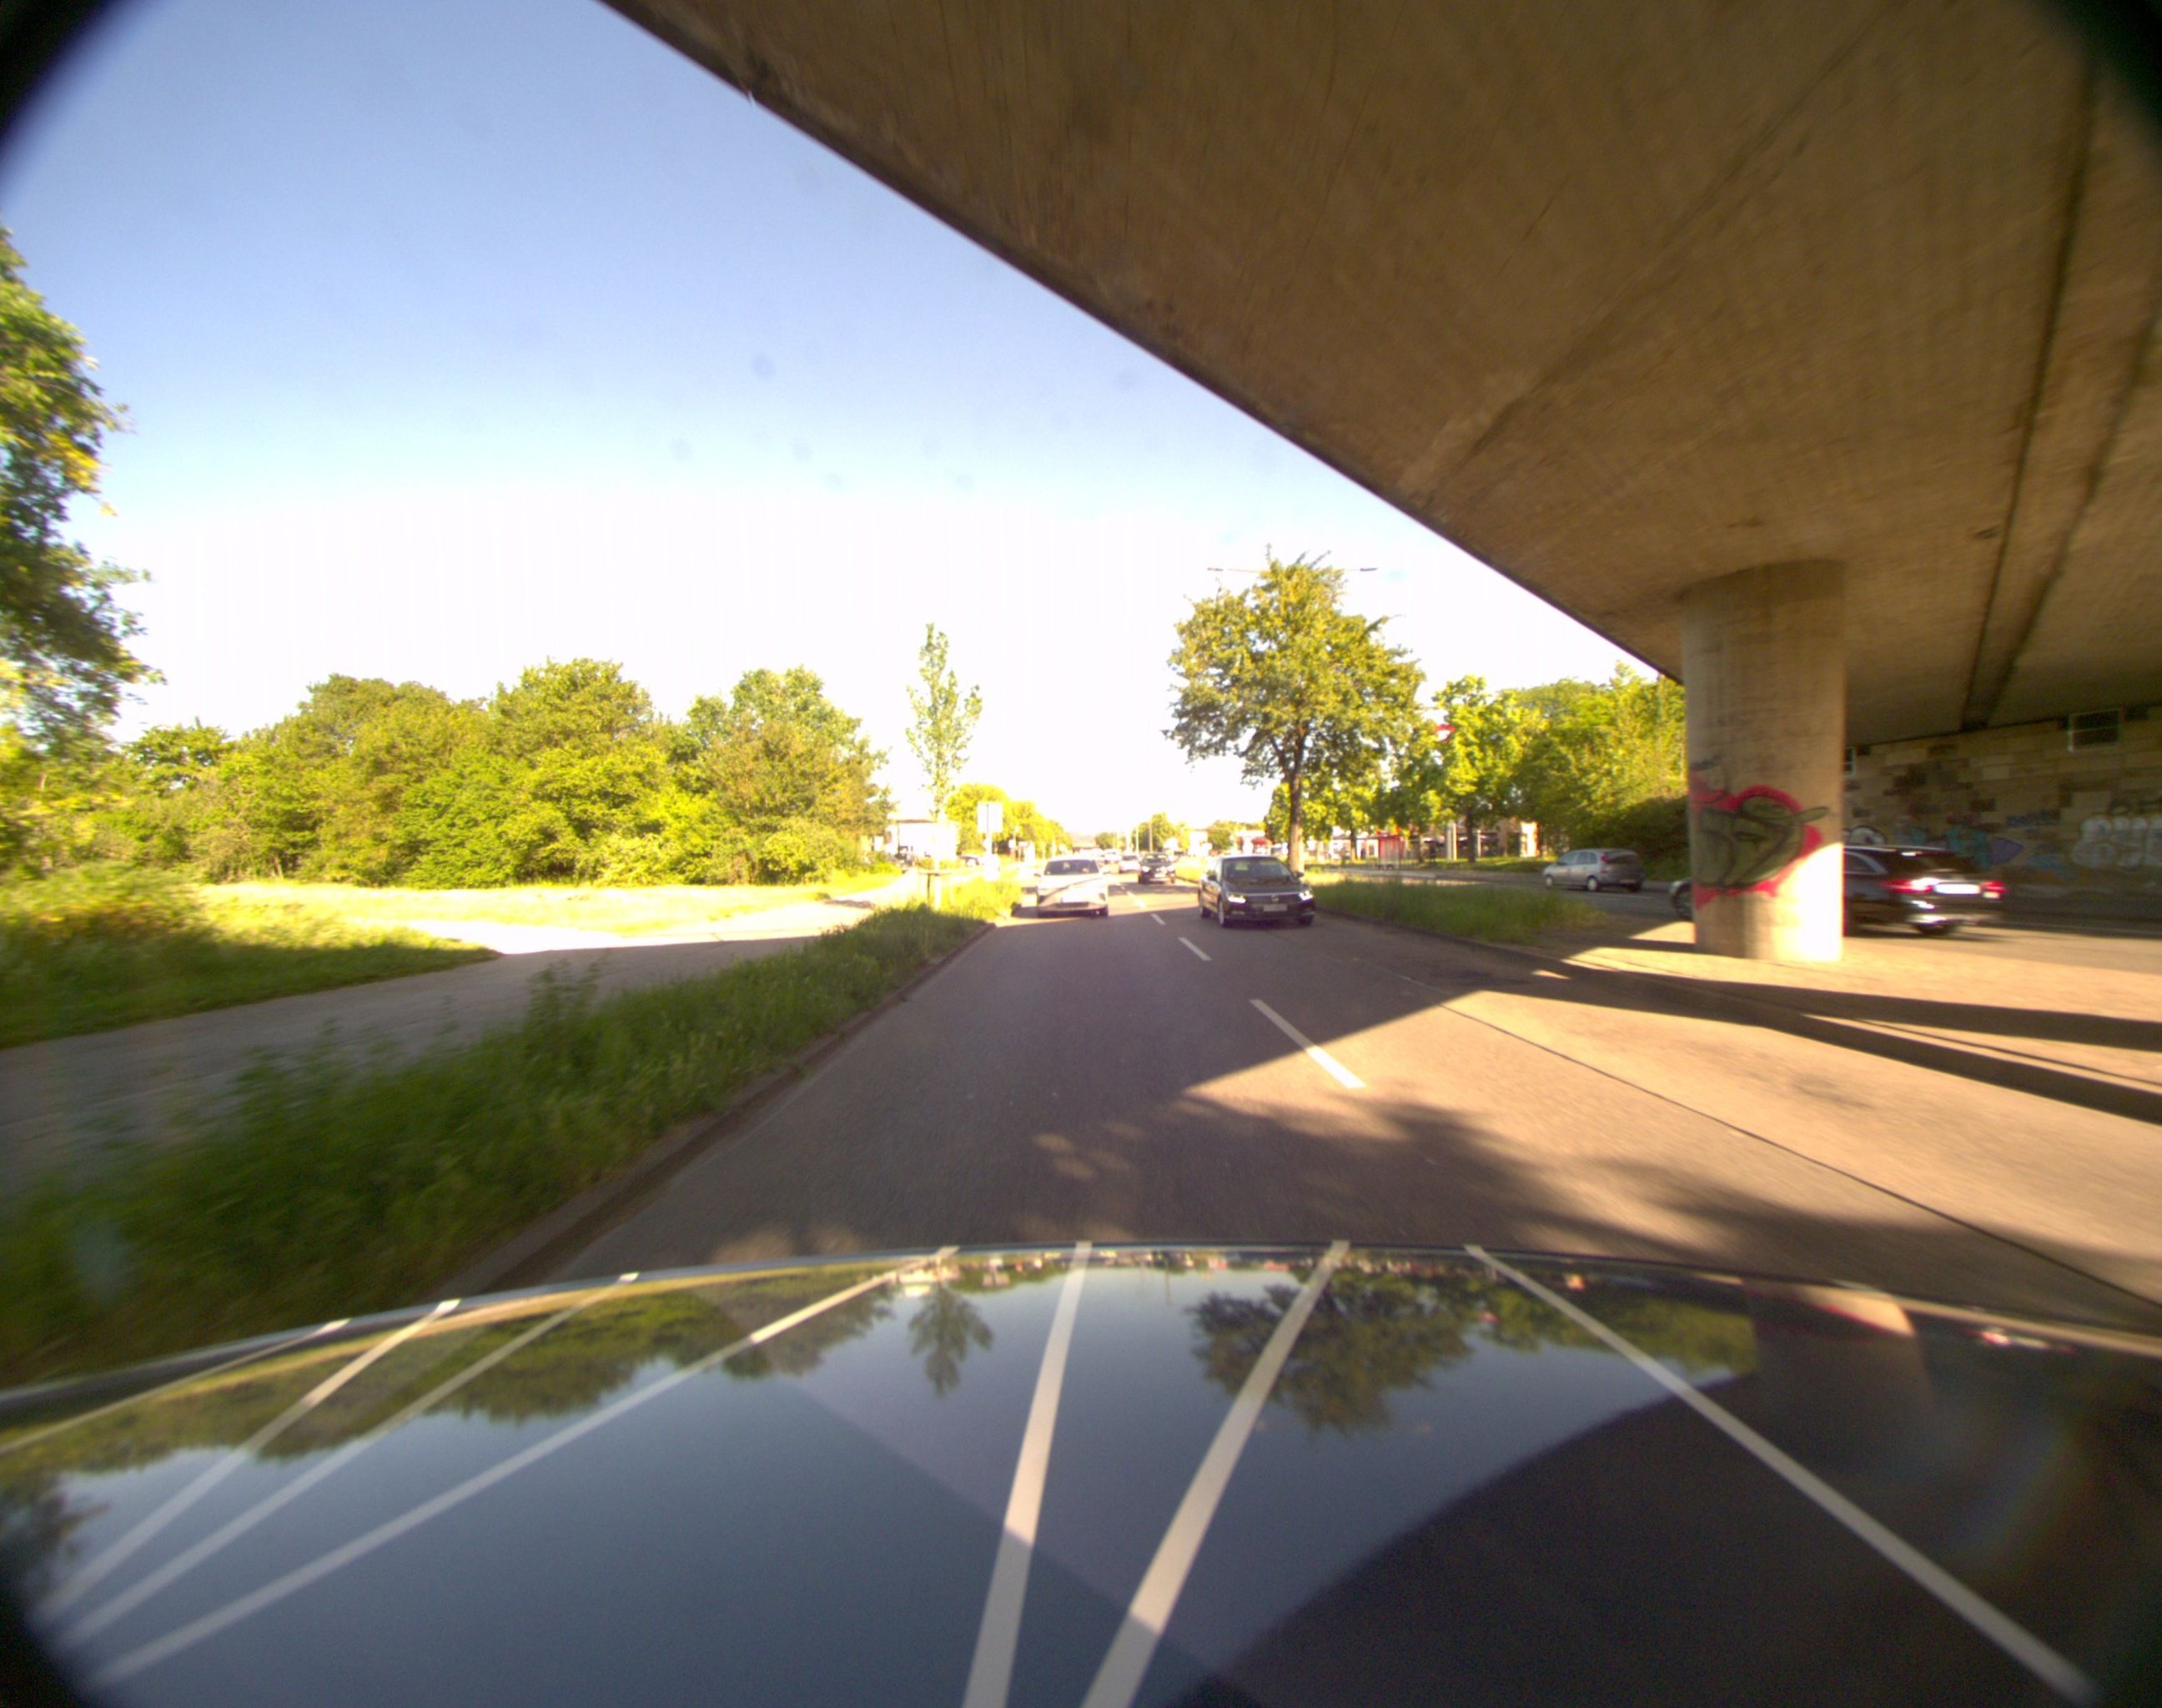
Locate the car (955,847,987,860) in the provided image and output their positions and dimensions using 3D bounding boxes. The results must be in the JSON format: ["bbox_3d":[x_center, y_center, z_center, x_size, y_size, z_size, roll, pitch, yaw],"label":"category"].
[{"bbox_3d":[-15.109,-0.066,104.370,3.924,1.444,1.726,6,2,12],"label":"car"}]

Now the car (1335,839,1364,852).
[{"bbox_3d":[41.389,-1.359,117.147,1.850,1.840,3.820,-3,1,-39],"label":"car"}]

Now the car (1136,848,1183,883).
[{"bbox_3d":[4.132,0.564,40.486,1.998,1.674,4.695,-3,1,1],"label":"car"}]

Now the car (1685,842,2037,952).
[{"bbox_3d":[12.816,0.599,12.934,1.847,1.534,3.999,1,1,0],"label":"car"}]

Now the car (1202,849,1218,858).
[{"bbox_3d":[21.462,-0.067,126.539,1.919,1.446,4.489,1,1,0],"label":"car"}]

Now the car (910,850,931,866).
[{"bbox_3d":[-20.910,0.531,99.082,1.898,1.850,4.215,2,1,-2],"label":"car"}]

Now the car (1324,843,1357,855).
[{"bbox_3d":[38.632,-0.701,113.160,1.899,1.652,4.122,-3,1,-42],"label":"car"}]

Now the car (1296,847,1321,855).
[{"bbox_3d":[44.055,-0.627,147.181,4.116,1.424,1.901,0,1,1],"label":"car"}]

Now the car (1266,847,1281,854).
[{"bbox_3d":[38.762,-0.695,152.880,1.900,1.317,4.119,0,1,-1],"label":"car"}]

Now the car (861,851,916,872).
[{"bbox_3d":[-16.308,0.626,64.444,4.547,1.630,1.805,2,1,30],"label":"car"}]

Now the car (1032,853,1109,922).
[{"bbox_3d":[-0.216,0.834,21.068,1.848,1.615,4.265,-2,0,1],"label":"car"}]

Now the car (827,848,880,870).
[{"bbox_3d":[-16.860,0.365,56.406,3.292,1.477,1.772,-3,1,2],"label":"car"}]

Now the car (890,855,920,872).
[{"bbox_3d":[-17.129,0.872,74.072,1.748,1.563,4.249,-1,0,2],"label":"car"}]

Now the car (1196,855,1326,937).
[{"bbox_3d":[3.701,0.794,16.435,1.848,1.445,4.265,-2,0,1],"label":"car"}]

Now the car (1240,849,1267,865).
[{"bbox_3d":[16.990,0.259,75.000,1.821,1.434,4.089,-1,1,0],"label":"car"}]

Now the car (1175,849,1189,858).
[{"bbox_3d":[17.240,-0.141,129.440,1.822,1.426,4.630,1,1,0],"label":"car"}]

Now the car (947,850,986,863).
[{"bbox_3d":[-14.631,0.366,97.365,1.895,1.522,4.846,2,1,44],"label":"car"}]

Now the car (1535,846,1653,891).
[{"bbox_3d":[19.512,0.494,29.140,1.733,1.607,4.179,0,1,1],"label":"car"}]

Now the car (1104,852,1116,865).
[{"bbox_3d":[4.918,0.800,129.464,1.998,2.002,3.999,-3,1,1],"label":"car"}]

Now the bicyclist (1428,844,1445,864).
[{"bbox_3d":[25.247,-0.005,54.020,0.682,1.394,1.026,-3,1,0],"label":"bicyclist"}]

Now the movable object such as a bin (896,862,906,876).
[{"bbox_3d":[-14.303,1.207,60.473,0.583,1.068,0.508,-2,1,-41],"label":"movable object such as a bin"}]

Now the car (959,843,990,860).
[{"bbox_3d":[-15.075,-0.355,107.515,3.986,2.002,1.690,7,1,33],"label":"car"}]

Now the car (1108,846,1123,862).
[{"bbox_3d":[5.221,-0.045,115.157,2.089,2.230,4.000,-3,1,1],"label":"car"}]

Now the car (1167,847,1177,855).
[{"bbox_3d":[17.778,-0.591,148.593,1.645,1.442,4.111,1,1,0],"label":"car"}]

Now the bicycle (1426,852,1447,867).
[{"bbox_3d":[25.266,0.384,54.077,0.685,1.024,1.714,-3,1,0],"label":"bicycle"}]

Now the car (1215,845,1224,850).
[{"bbox_3d":[39.231,-1.826,214.914,1.762,1.604,4.119,0,1,-1],"label":"car"}]

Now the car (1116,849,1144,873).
[{"bbox_3d":[4.006,0.541,62.980,1.998,1.779,4.270,-3,1,1],"label":"car"}]
